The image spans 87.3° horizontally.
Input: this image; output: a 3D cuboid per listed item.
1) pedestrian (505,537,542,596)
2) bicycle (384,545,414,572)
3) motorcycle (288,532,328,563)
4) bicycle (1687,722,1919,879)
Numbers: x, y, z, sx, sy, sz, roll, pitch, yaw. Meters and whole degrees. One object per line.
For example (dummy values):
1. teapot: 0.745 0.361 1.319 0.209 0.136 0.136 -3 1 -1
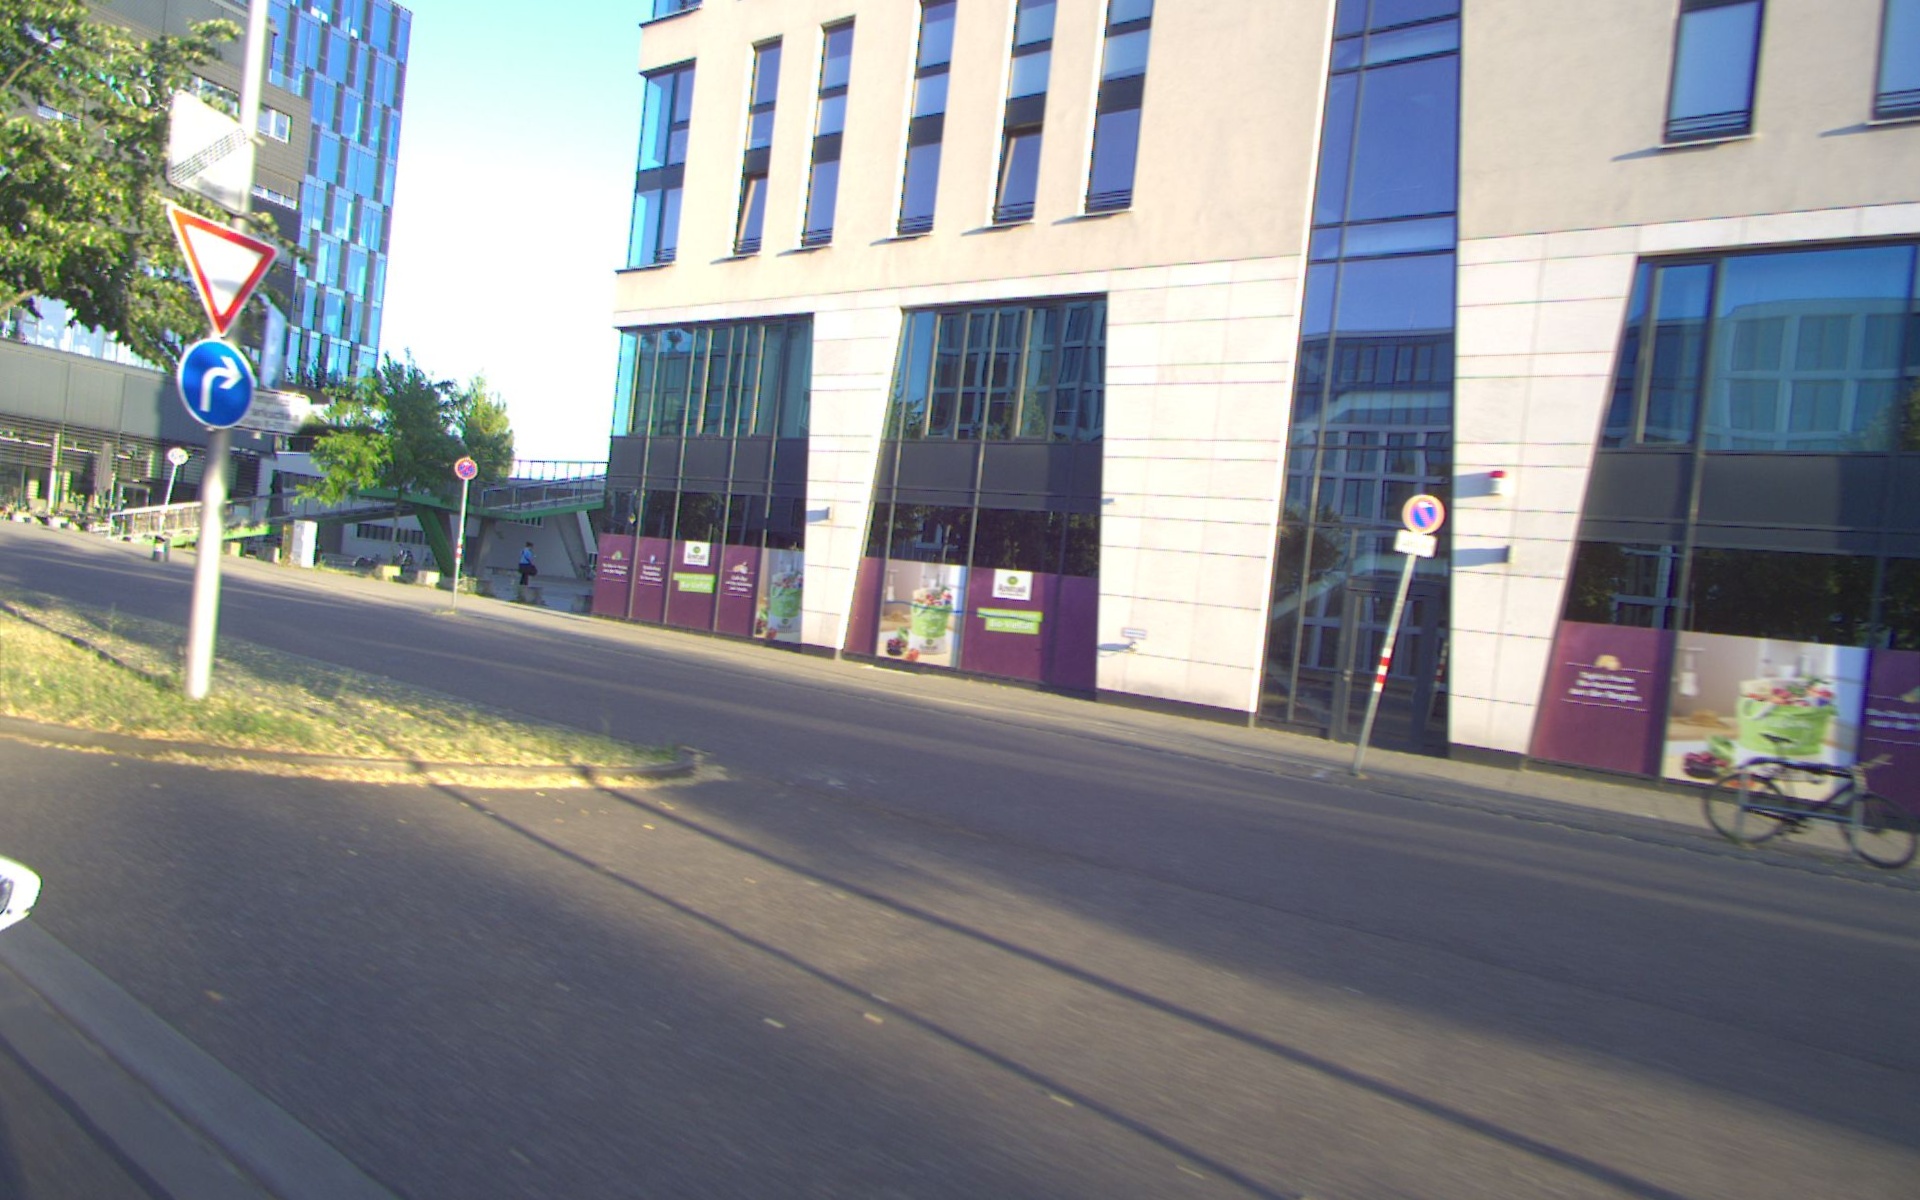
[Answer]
1. pedestrian: -15.900 -1.210 36.664 0.916 2.038 0.889 6 0 -15
2. bicycle: -25.166 -1.869 45.137 1.743 1.065 0.566 7 1 42
3. motorcycle: -27.908 -2.259 43.055 2.297 1.107 0.650 7 1 37
4. bicycle: 7.997 1.849 9.487 1.746 1.087 0.446 7 3 36
